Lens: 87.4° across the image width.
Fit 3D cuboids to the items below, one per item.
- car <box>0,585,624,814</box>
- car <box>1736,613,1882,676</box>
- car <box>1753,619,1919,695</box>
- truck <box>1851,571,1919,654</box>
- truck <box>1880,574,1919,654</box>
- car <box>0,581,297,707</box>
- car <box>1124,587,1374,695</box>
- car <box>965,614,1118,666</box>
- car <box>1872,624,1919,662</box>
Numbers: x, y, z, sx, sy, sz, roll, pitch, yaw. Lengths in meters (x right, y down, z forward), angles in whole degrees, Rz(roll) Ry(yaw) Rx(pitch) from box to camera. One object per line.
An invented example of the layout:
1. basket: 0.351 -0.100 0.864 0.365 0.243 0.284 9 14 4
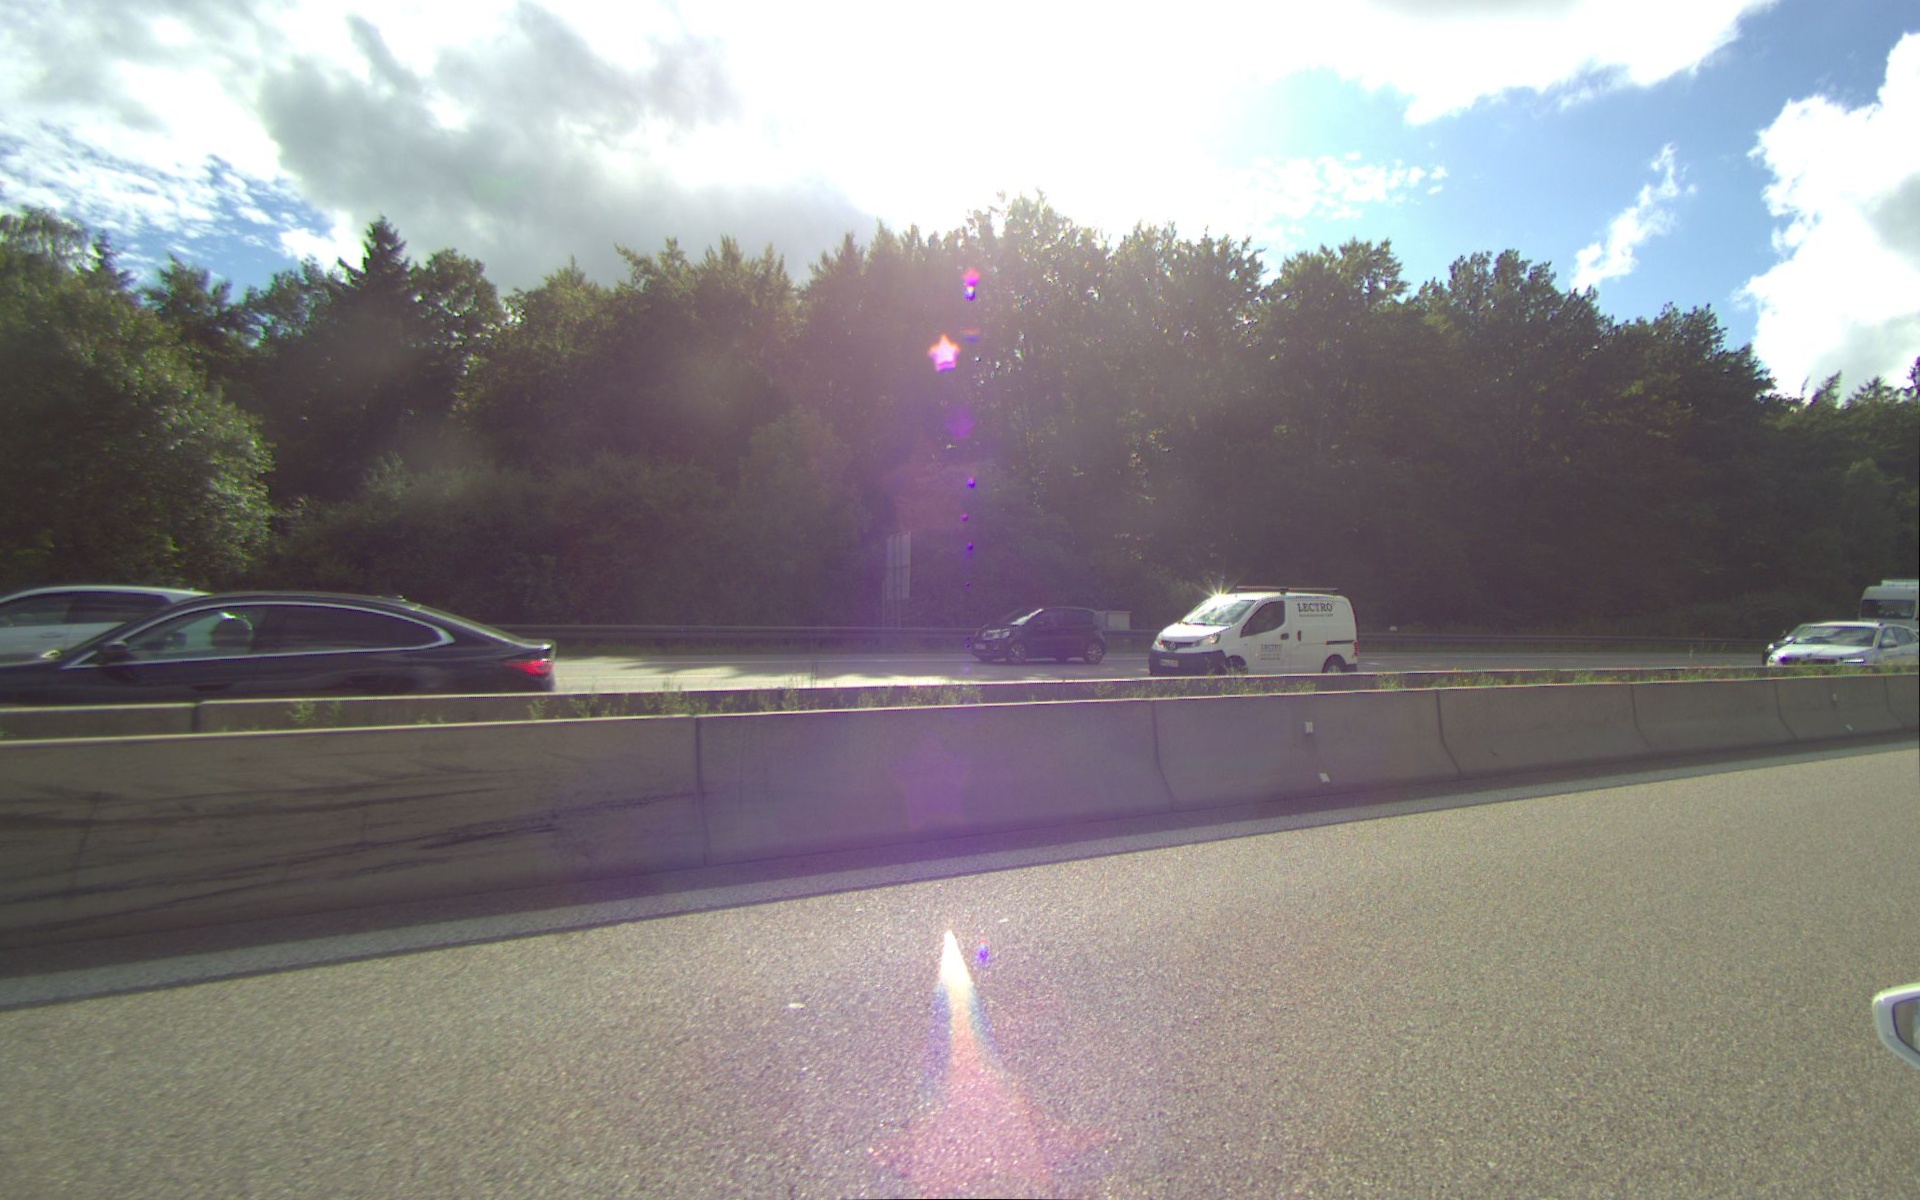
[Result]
1. car: -5.222 0.634 7.731 4.694 1.409 1.983 1 0 -31
2. car: 25.584 1.312 30.241 4.625 1.709 1.983 1 0 -31
3. car: 20.053 1.241 22.597 4.620 1.528 1.747 1 0 -28
4. truck: 49.655 0.670 52.345 6.514 4.123 2.696 1 0 -28
5. truck: 55.491 0.856 55.436 12.922 4.123 2.696 1 0 -28
6. car: -11.453 0.531 13.067 4.619 1.492 2.060 1 0 -32
7. car: 5.601 0.744 19.311 4.675 1.862 1.983 1 0 -31
8. car: 2.113 1.018 25.756 3.745 1.228 1.486 1 0 -31
9. car: 41.123 1.856 42.979 4.078 1.518 1.840 2 0 -28
